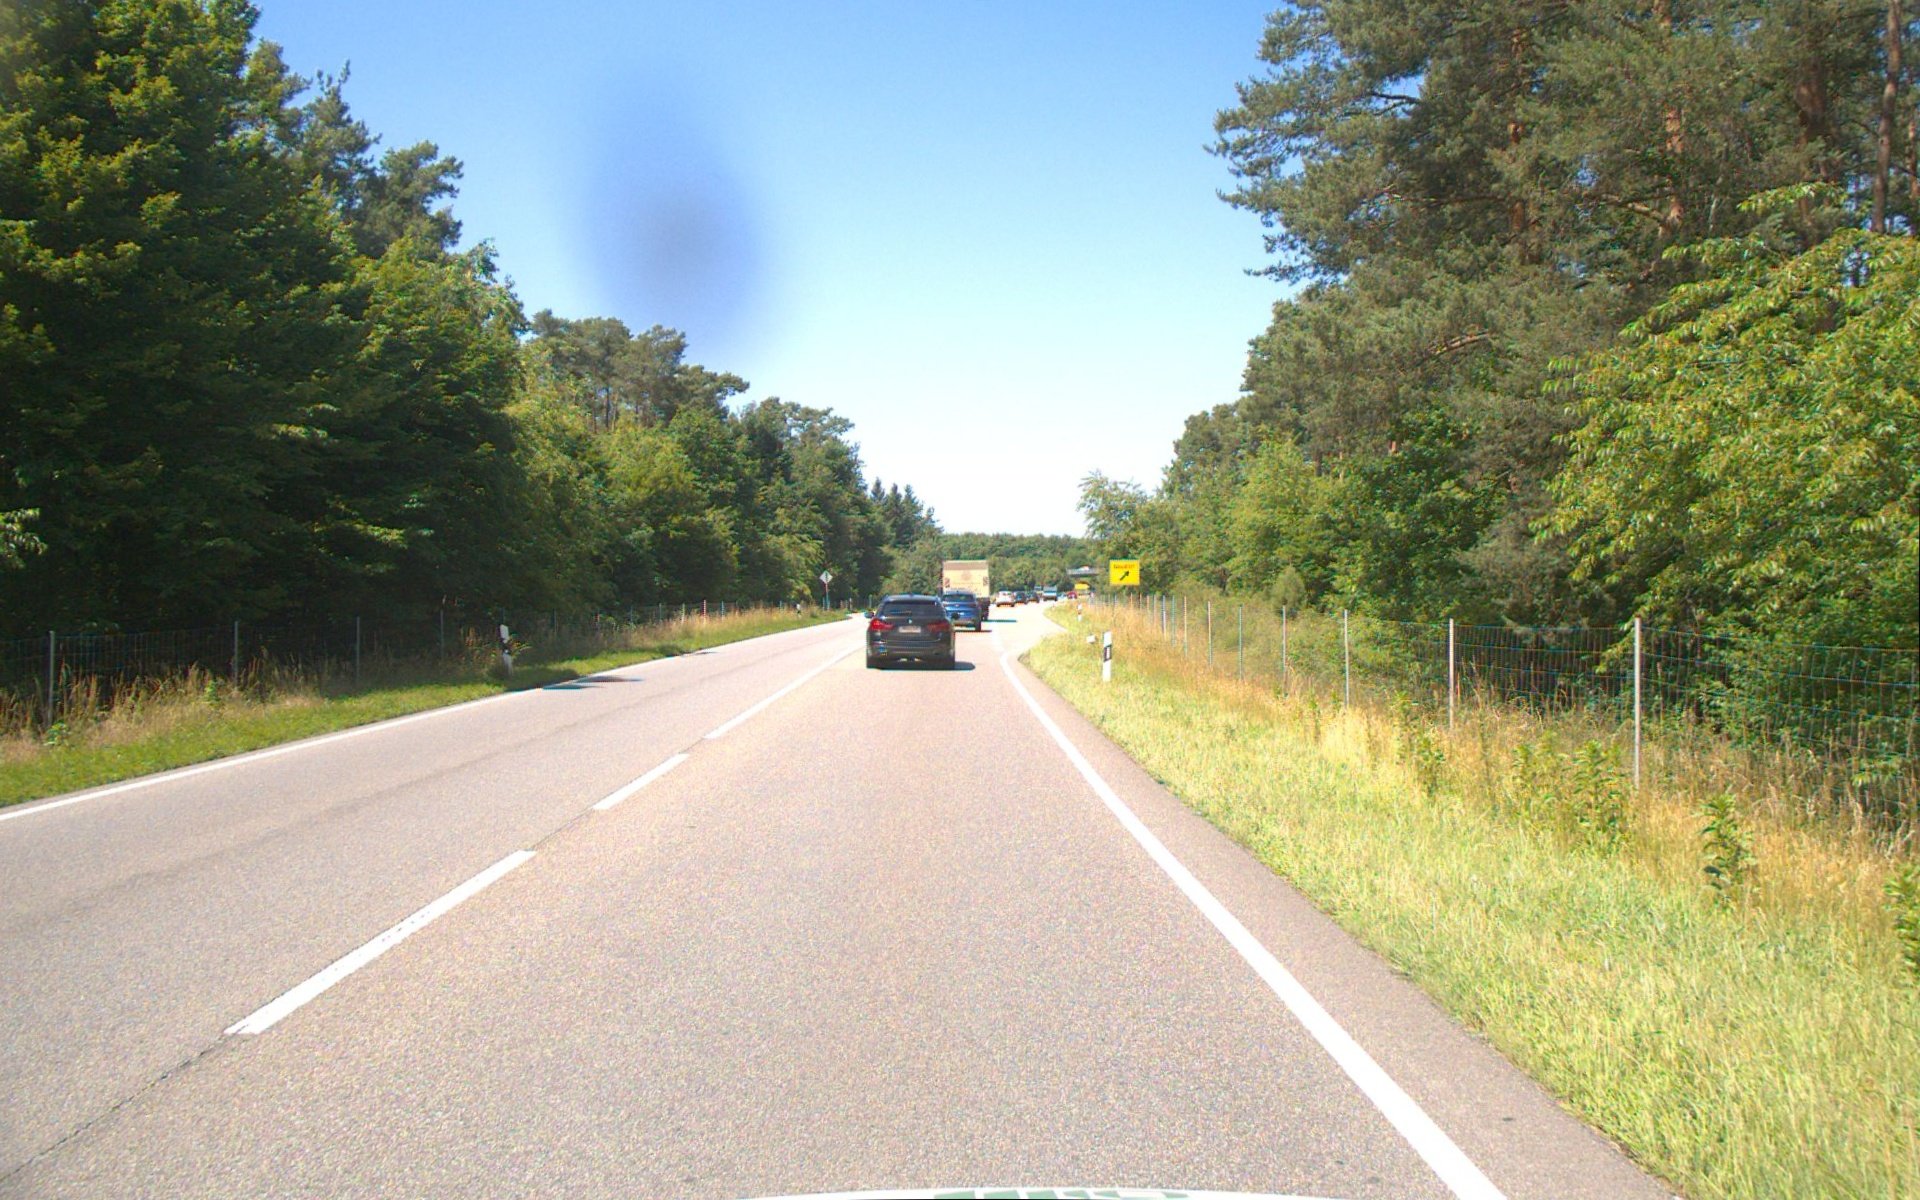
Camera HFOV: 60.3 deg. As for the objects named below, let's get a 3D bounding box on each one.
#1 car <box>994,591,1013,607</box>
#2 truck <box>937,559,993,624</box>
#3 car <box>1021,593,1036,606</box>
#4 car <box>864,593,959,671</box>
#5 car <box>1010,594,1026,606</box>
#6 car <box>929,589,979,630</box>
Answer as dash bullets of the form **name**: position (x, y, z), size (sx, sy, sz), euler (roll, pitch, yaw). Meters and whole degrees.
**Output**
- **car**: position (4.707, -0.090, 179.728), size (1.825, 1.633, 3.999), euler (1, 0, -2)
- **truck**: position (0.319, -0.493, 91.108), size (2.904, 3.446, 6.439), euler (-1, 1, 1)
- **car**: position (9.616, -0.062, 232.440), size (1.952, 1.665, 4.002), euler (-2, 0, 3)
- **car**: position (-1.078, 0.629, 34.733), size (1.785, 1.496, 3.996), euler (-1, 0, -5)
- **car**: position (7.371, 0.024, 209.353), size (1.952, 1.445, 4.001), euler (0, 1, 2)
- **car**: position (-0.279, 0.371, 67.056), size (1.908, 1.568, 3.999), euler (-2, 0, -1)
